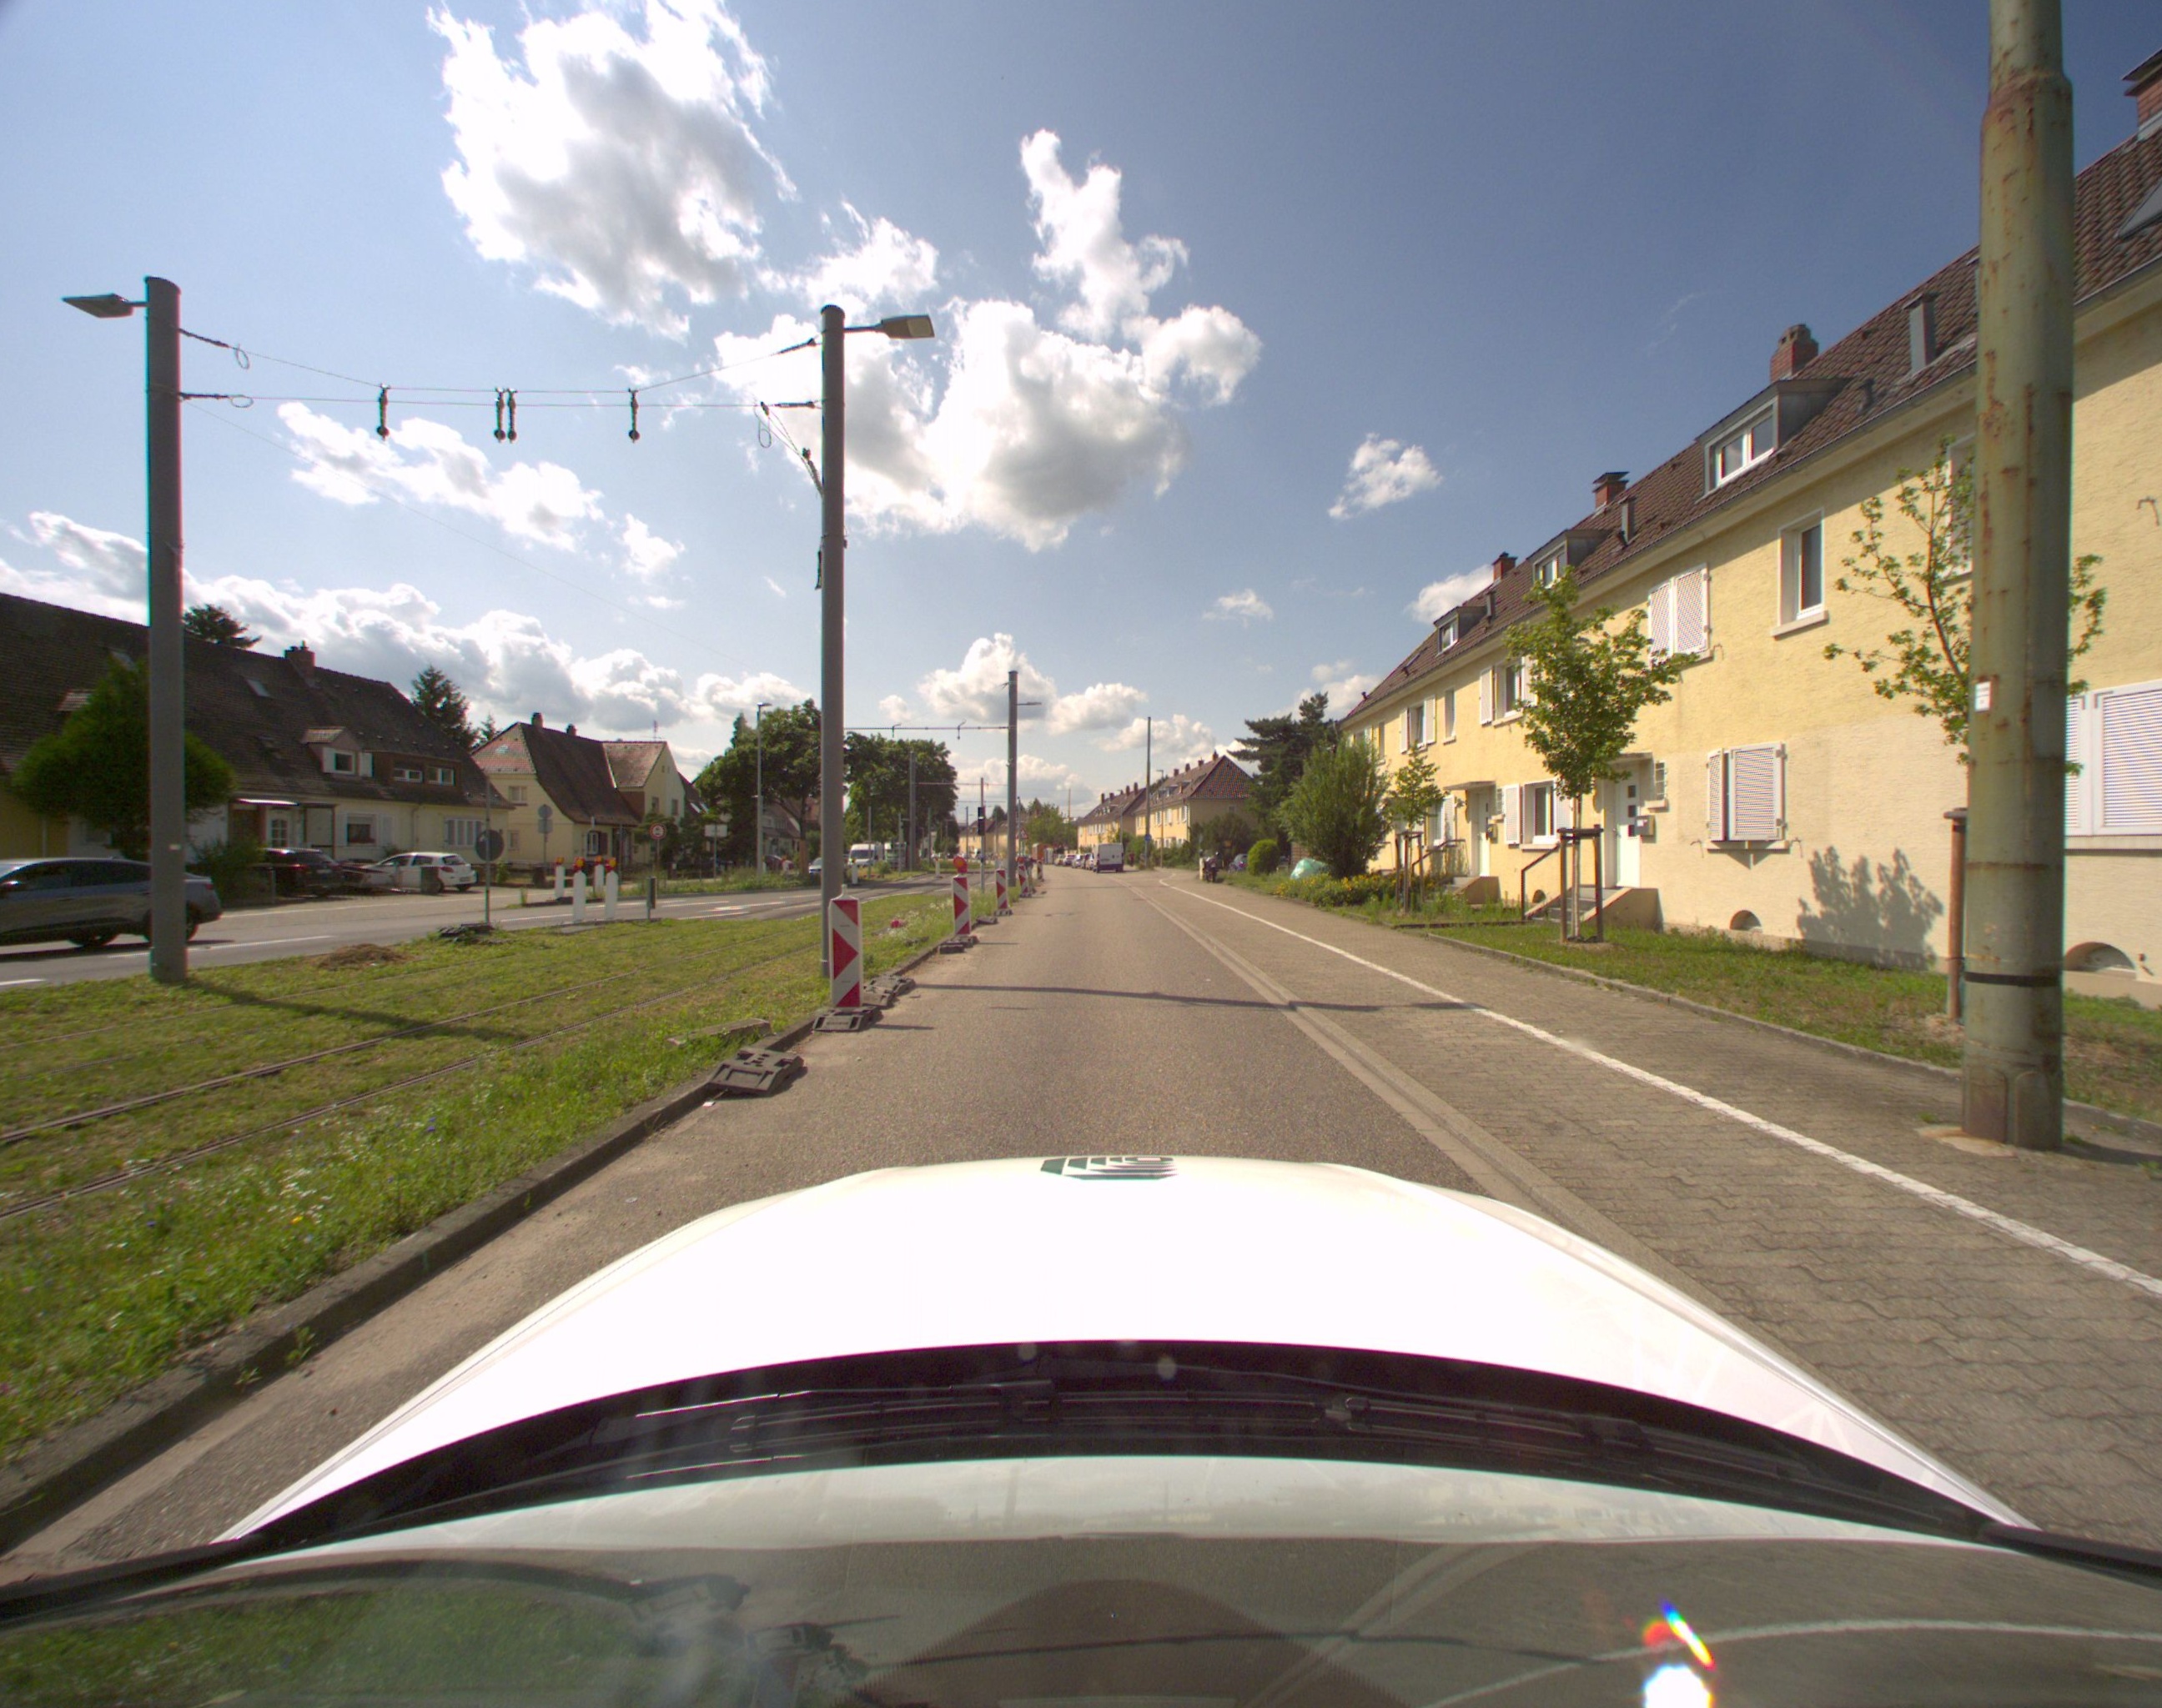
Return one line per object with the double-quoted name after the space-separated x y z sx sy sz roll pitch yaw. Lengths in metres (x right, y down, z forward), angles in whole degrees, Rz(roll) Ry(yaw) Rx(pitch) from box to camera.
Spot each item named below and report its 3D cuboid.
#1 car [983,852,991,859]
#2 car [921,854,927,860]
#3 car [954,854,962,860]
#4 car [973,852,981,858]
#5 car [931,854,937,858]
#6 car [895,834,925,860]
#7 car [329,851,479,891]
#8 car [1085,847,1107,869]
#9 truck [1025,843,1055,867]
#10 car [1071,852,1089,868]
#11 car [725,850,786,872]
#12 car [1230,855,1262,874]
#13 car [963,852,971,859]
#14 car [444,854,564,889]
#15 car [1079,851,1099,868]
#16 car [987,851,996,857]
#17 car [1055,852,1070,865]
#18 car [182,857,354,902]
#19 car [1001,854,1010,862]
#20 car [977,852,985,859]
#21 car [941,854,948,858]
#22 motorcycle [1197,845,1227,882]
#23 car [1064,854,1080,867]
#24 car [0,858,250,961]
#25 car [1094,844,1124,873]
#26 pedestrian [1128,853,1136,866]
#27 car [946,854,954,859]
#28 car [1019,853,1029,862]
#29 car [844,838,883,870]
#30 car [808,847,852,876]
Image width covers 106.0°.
-20.080 0.316 174.060 1.261 1.350 2.649 0 0 -18 "car"
-44.536 0.860 231.297 1.261 1.426 2.648 0 0 -19 "car"
-30.320 0.770 200.255 1.262 1.426 2.645 0 0 -22 "car"
-23.363 0.186 182.553 1.169 1.426 2.648 0 0 -19 "car"
-40.099 0.582 222.275 1.261 1.186 2.649 0 0 -18 "car"
-15.911 -0.643 76.064 2.406 2.370 4.865 0 1 -9 "car"
-25.818 0.622 31.165 4.092 1.466 1.992 0 0 1 "car"
1.274 0.373 72.560 1.565 1.897 3.782 0 0 -5 "car"
-6.404 0.153 125.402 2.645 3.494 9.390 0 0 -15 "truck"
-0.101 0.608 83.406 1.565 1.551 3.782 0 0 -5 "car"
-26.076 0.549 65.382 4.097 1.776 2.099 0 0 -3 "car"
9.429 0.610 46.663 1.307 1.029 2.769 0 0 1 "car"
-27.060 0.357 193.039 1.262 1.426 2.647 0 0 -20 "car"
-25.115 0.747 35.521 3.973 1.398 1.705 1 1 1 "car"
0.744 0.534 77.851 1.565 1.551 3.782 0 0 -5 "car"
-18.746 -0.038 170.170 1.261 1.350 2.649 0 0 -18 "car"
-2.316 0.596 101.662 1.565 1.551 3.472 0 0 -5 "car"
-26.260 0.801 26.419 3.608 1.404 1.939 0 0 0 "car"
-14.619 0.739 158.184 1.260 1.426 2.650 0 0 -16 "car"
-21.912 0.264 178.341 1.169 1.426 2.648 0 0 -19 "car"
-35.802 0.530 212.990 1.263 1.142 2.645 0 0 -22 "car"
5.909 0.426 36.882 1.063 1.635 2.084 0 0 1 "motorcycle"
-1.075 0.749 95.240 1.565 1.551 3.472 0 0 -5 "car"
-17.007 0.849 13.231 1.833 1.534 4.748 0 0 7 "car"
2.107 0.317 63.003 2.059 2.149 4.876 0 0 -1 "car"
5.079 0.574 80.947 0.631 1.255 0.725 0 0 -7 "pedestrian"
-33.278 0.618 207.270 1.264 1.426 2.642 0 0 -26 "car"
-9.592 0.627 137.709 1.260 1.426 2.652 0 0 -15 "car"
-17.001 -0.006 63.982 2.406 2.338 4.865 0 0 -9 "car"
-16.047 0.482 52.180 2.093 1.776 4.108 0 0 -9 "car"
